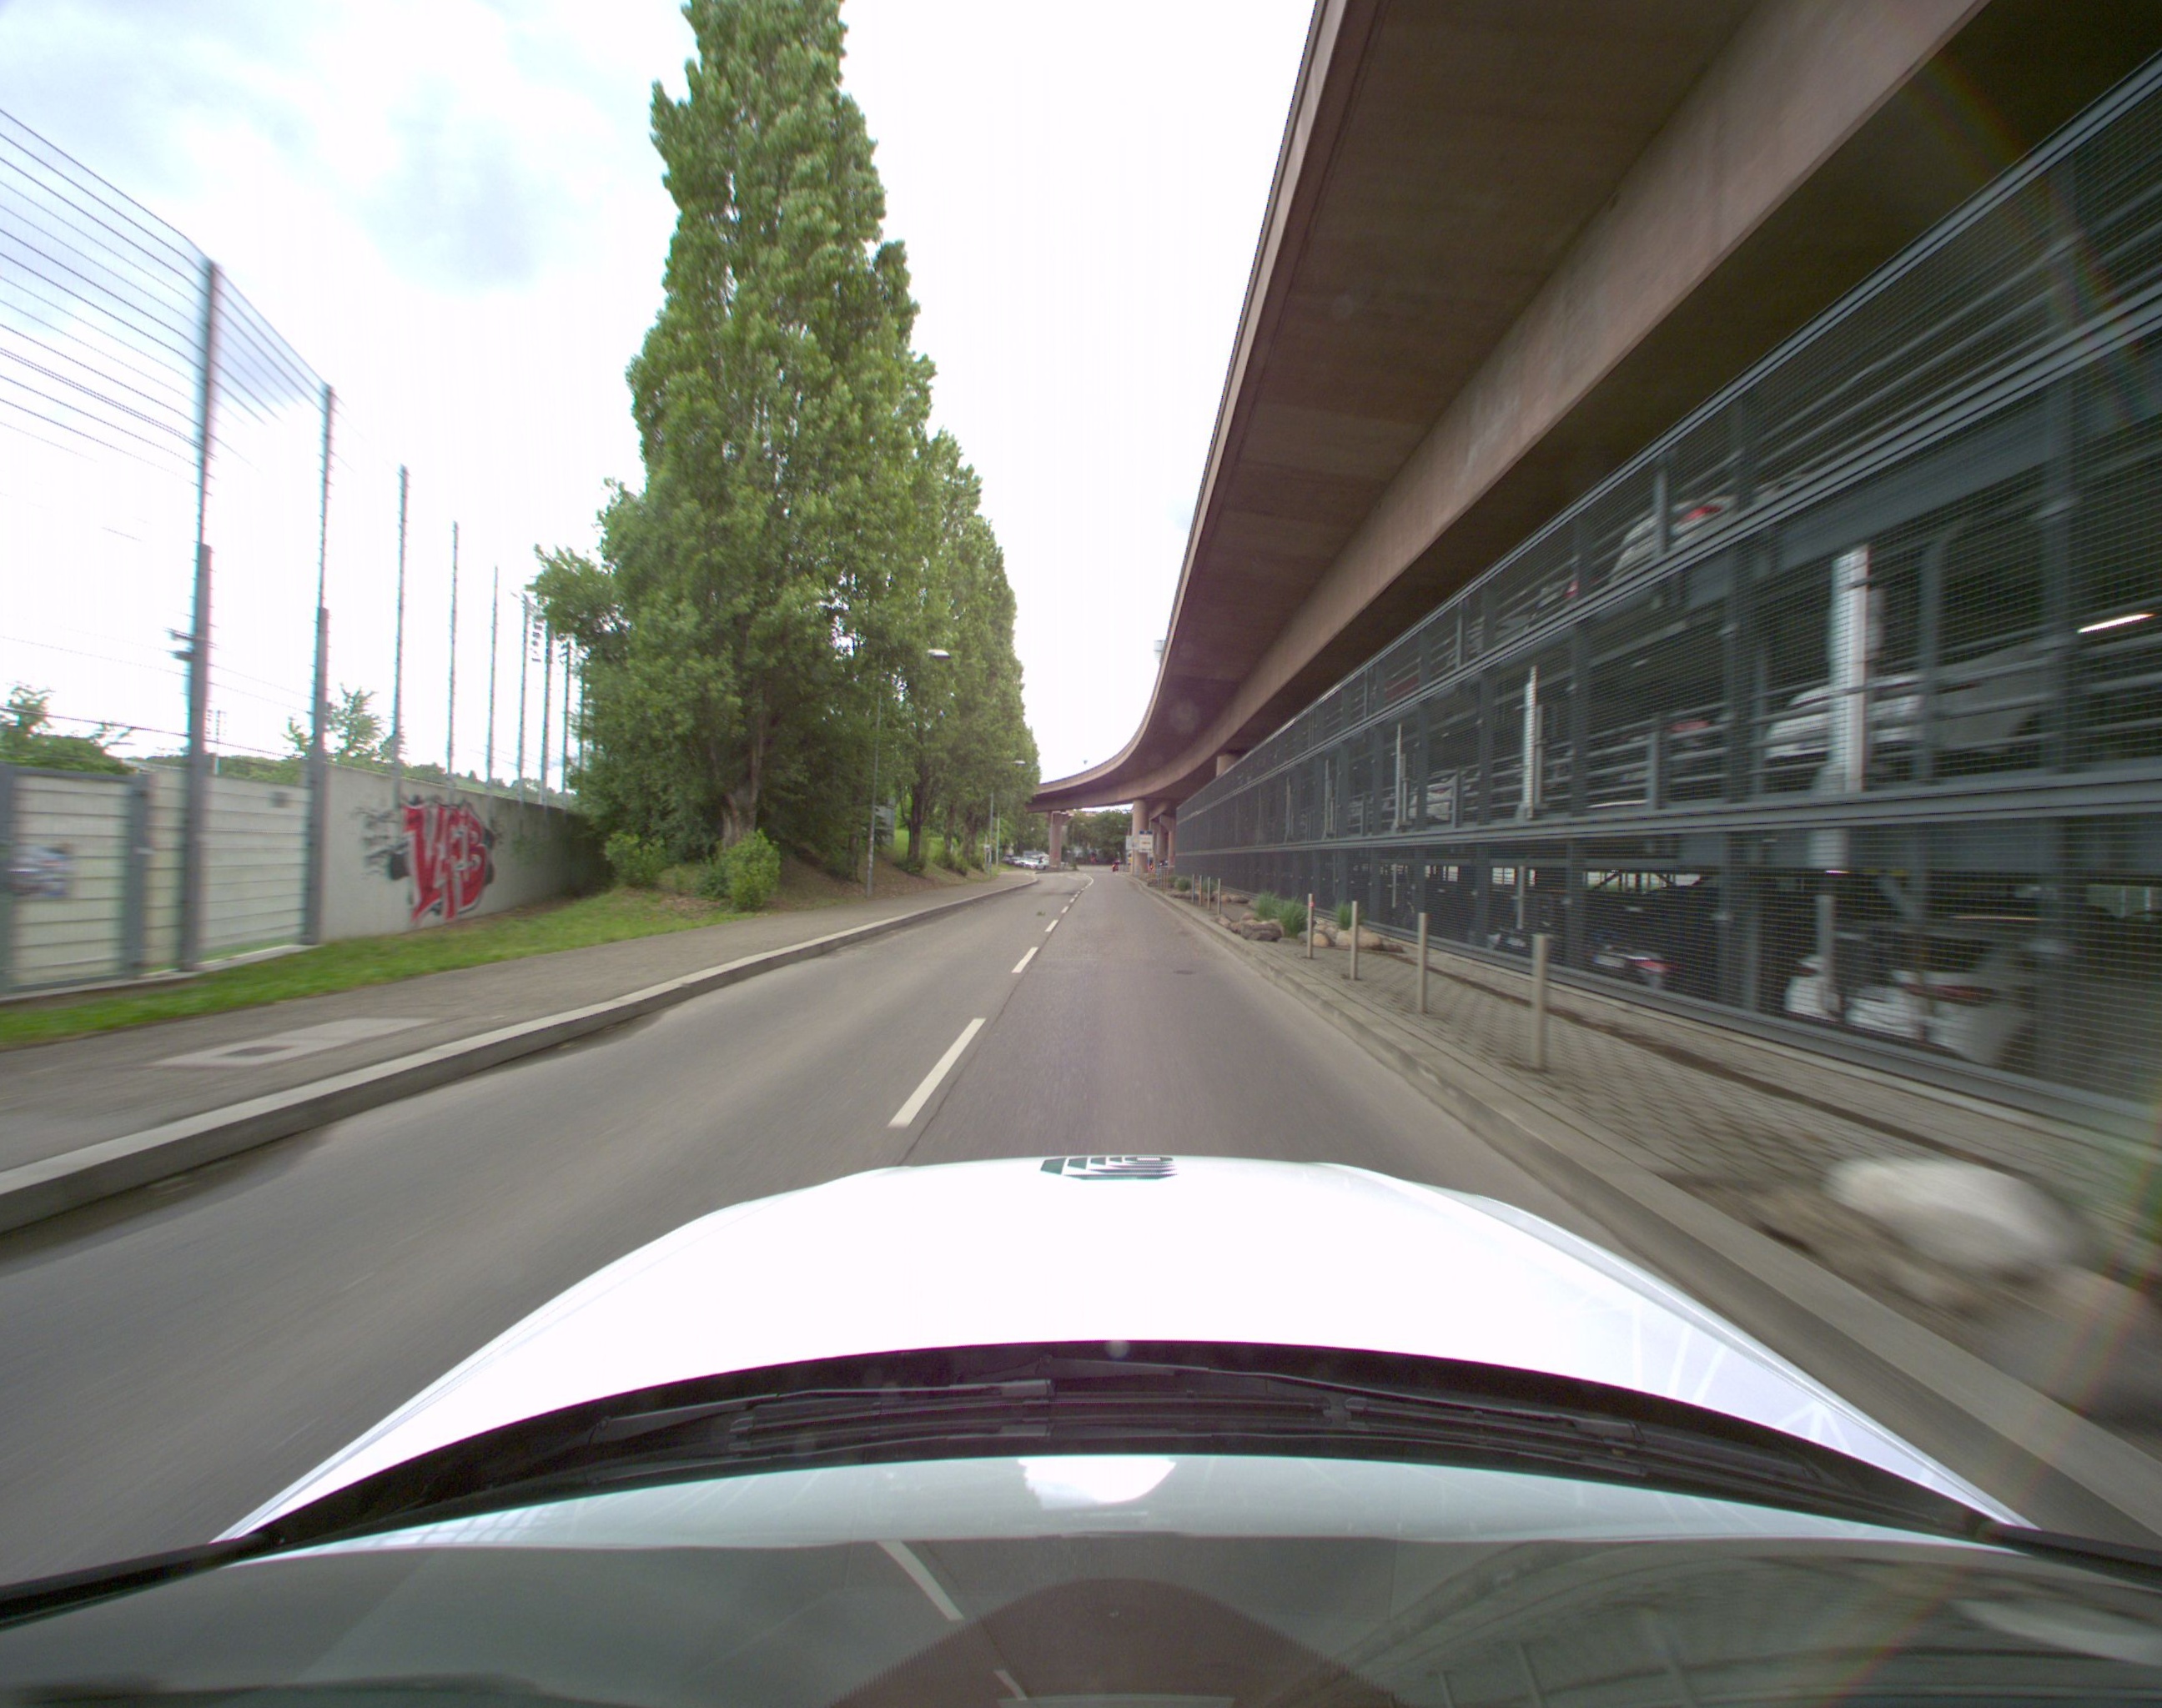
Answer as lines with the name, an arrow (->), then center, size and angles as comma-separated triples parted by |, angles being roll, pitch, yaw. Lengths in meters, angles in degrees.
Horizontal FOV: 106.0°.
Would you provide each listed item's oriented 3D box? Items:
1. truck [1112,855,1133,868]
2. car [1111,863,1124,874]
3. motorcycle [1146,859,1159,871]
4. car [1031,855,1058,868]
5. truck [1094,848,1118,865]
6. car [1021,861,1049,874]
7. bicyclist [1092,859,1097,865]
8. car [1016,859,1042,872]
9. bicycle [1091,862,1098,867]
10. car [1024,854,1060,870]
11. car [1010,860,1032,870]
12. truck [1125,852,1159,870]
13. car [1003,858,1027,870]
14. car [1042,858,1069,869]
truck -> 9.973, 1.692, 196.813 | 2.924, 2.898, 6.517 | 0, 1, -19
car -> 5.999, 2.369, 134.057 | 1.986, 1.679, 4.561 | 1, -1, 1
motorcycle -> 8.390, 1.286, 95.731 | 0.797, 1.366, 2.119 | 0, 0, -15
car -> -6.537, 1.309, 147.103 | 4.528, 2.111, 1.856 | 2, -1, 10
truck -> 6.022, 0.567, 195.708 | 3.075, 3.867, 7.997 | 0, 1, -19
car -> -6.552, 1.912, 116.648 | 1.977, 1.480, 4.853 | 5, -1, 22
bicyclist -> 2.988, 1.803, 179.679 | 0.801, 1.405, 1.056 | 0, -1, -30
car -> -7.686, 1.763, 120.513 | 1.977, 1.583, 4.423 | 5, -1, 23
bicycle -> 2.976, 2.235, 179.693 | 0.807, 1.097, 2.111 | 0, -1, -30
car -> -7.199, 1.413, 150.006 | 6.143, 2.725, 2.372 | 2, 0, 6
car -> -9.093, 1.702, 123.712 | 1.770, 1.454, 3.768 | 1, -1, 25
truck -> 13.295, 1.530, 177.878 | 2.900, 3.480, 8.296 | 4, 4, 41
car -> -10.254, 1.621, 126.958 | 1.840, 1.691, 4.187 | 1, -1, 25
car -> -4.420, 1.619, 141.450 | 4.349, 1.606, 1.962 | 4, 0, 14
